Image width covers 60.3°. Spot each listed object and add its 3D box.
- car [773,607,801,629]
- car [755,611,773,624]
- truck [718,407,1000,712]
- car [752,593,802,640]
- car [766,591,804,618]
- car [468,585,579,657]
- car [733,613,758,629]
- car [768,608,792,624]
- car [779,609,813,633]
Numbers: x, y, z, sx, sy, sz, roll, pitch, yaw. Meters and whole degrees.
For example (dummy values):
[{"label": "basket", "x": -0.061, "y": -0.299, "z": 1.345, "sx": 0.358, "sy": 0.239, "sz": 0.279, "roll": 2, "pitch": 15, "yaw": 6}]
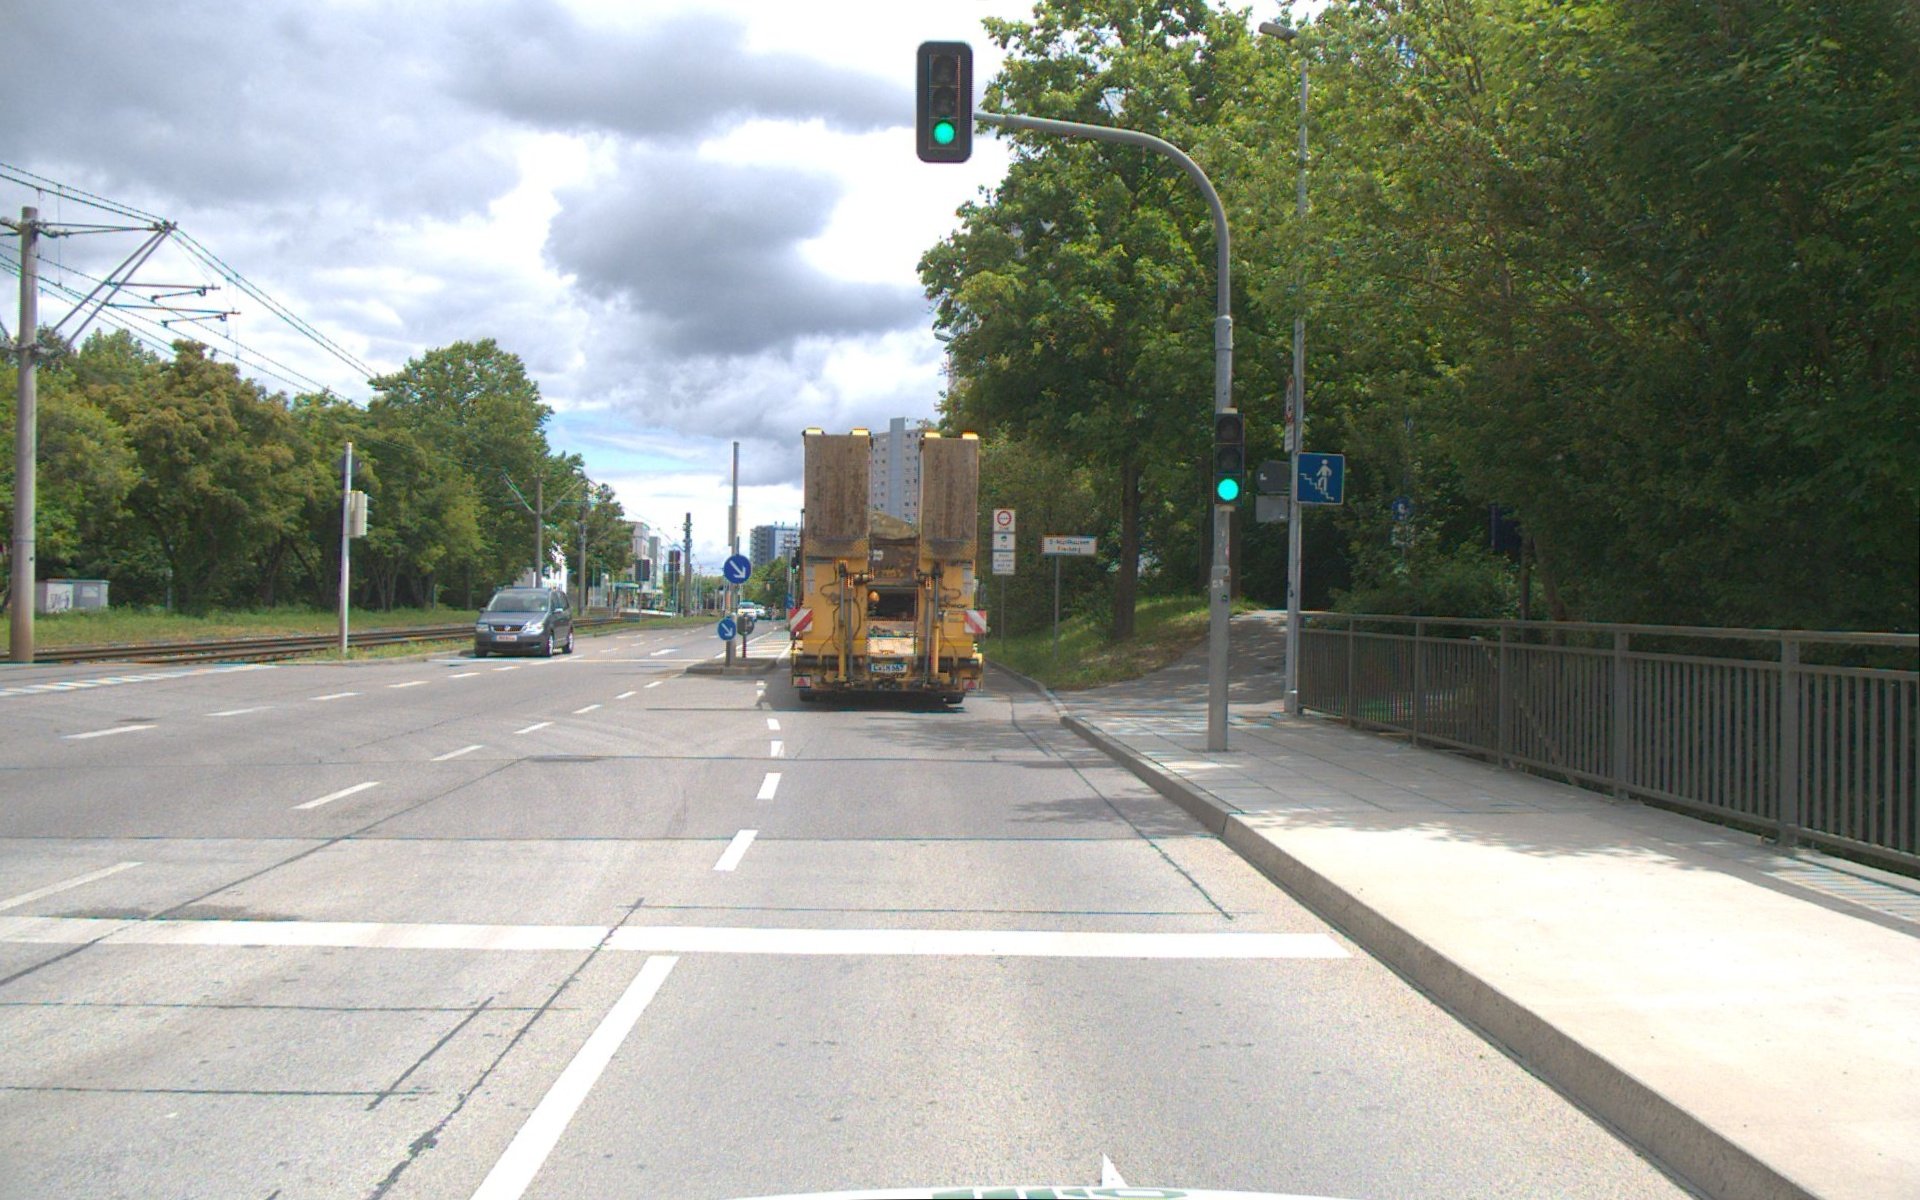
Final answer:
[{"label": "car", "x": -13.876, "y": 1.469, "z": 133.032, "sx": 1.954, "sy": 1.646, "sz": 3.997, "roll": 3, "pitch": 0, "yaw": -3}, {"label": "car", "x": -20.974, "y": 1.843, "z": 176.924, "sx": 1.749, "sy": 1.294, "sz": 4.340, "roll": 1, "pitch": -1, "yaw": -5}, {"label": "truck", "x": -1.131, "y": -0.454, "z": 27.195, "sx": 3.247, "sy": 3.715, "sz": 12.564, "roll": 2, "pitch": 0, "yaw": 2}, {"label": "car", "x": -8.324, "y": 0.742, "z": 75.545, "sx": 1.954, "sy": 1.959, "sz": 3.997, "roll": 3, "pitch": 0, "yaw": -3}, {"label": "car", "x": -10.407, "y": 0.262, "z": 98.561, "sx": 1.954, "sy": 1.445, "sz": 3.997, "roll": 3, "pitch": 0, "yaw": -3}, {"label": "car", "x": -10.430, "y": 0.494, "z": 39.785, "sx": 1.748, "sy": 1.597, "sz": 4.341, "roll": 1, "pitch": -1, "yaw": -4}, {"label": "car", "x": -17.636, "y": 1.735, "z": 136.018, "sx": 1.748, "sy": 1.294, "sz": 4.341, "roll": 1, "pitch": -1, "yaw": -4}, {"label": "car", "x": -14.906, "y": 1.320, "z": 137.230, "sx": 1.748, "sy": 1.294, "sz": 4.341, "roll": 1, "pitch": -1, "yaw": -4}, {"label": "car", "x": -10.751, "y": 1.340, "z": 108.539, "sx": 1.954, "sy": 1.445, "sz": 3.997, "roll": 3, "pitch": 0, "yaw": -3}]
